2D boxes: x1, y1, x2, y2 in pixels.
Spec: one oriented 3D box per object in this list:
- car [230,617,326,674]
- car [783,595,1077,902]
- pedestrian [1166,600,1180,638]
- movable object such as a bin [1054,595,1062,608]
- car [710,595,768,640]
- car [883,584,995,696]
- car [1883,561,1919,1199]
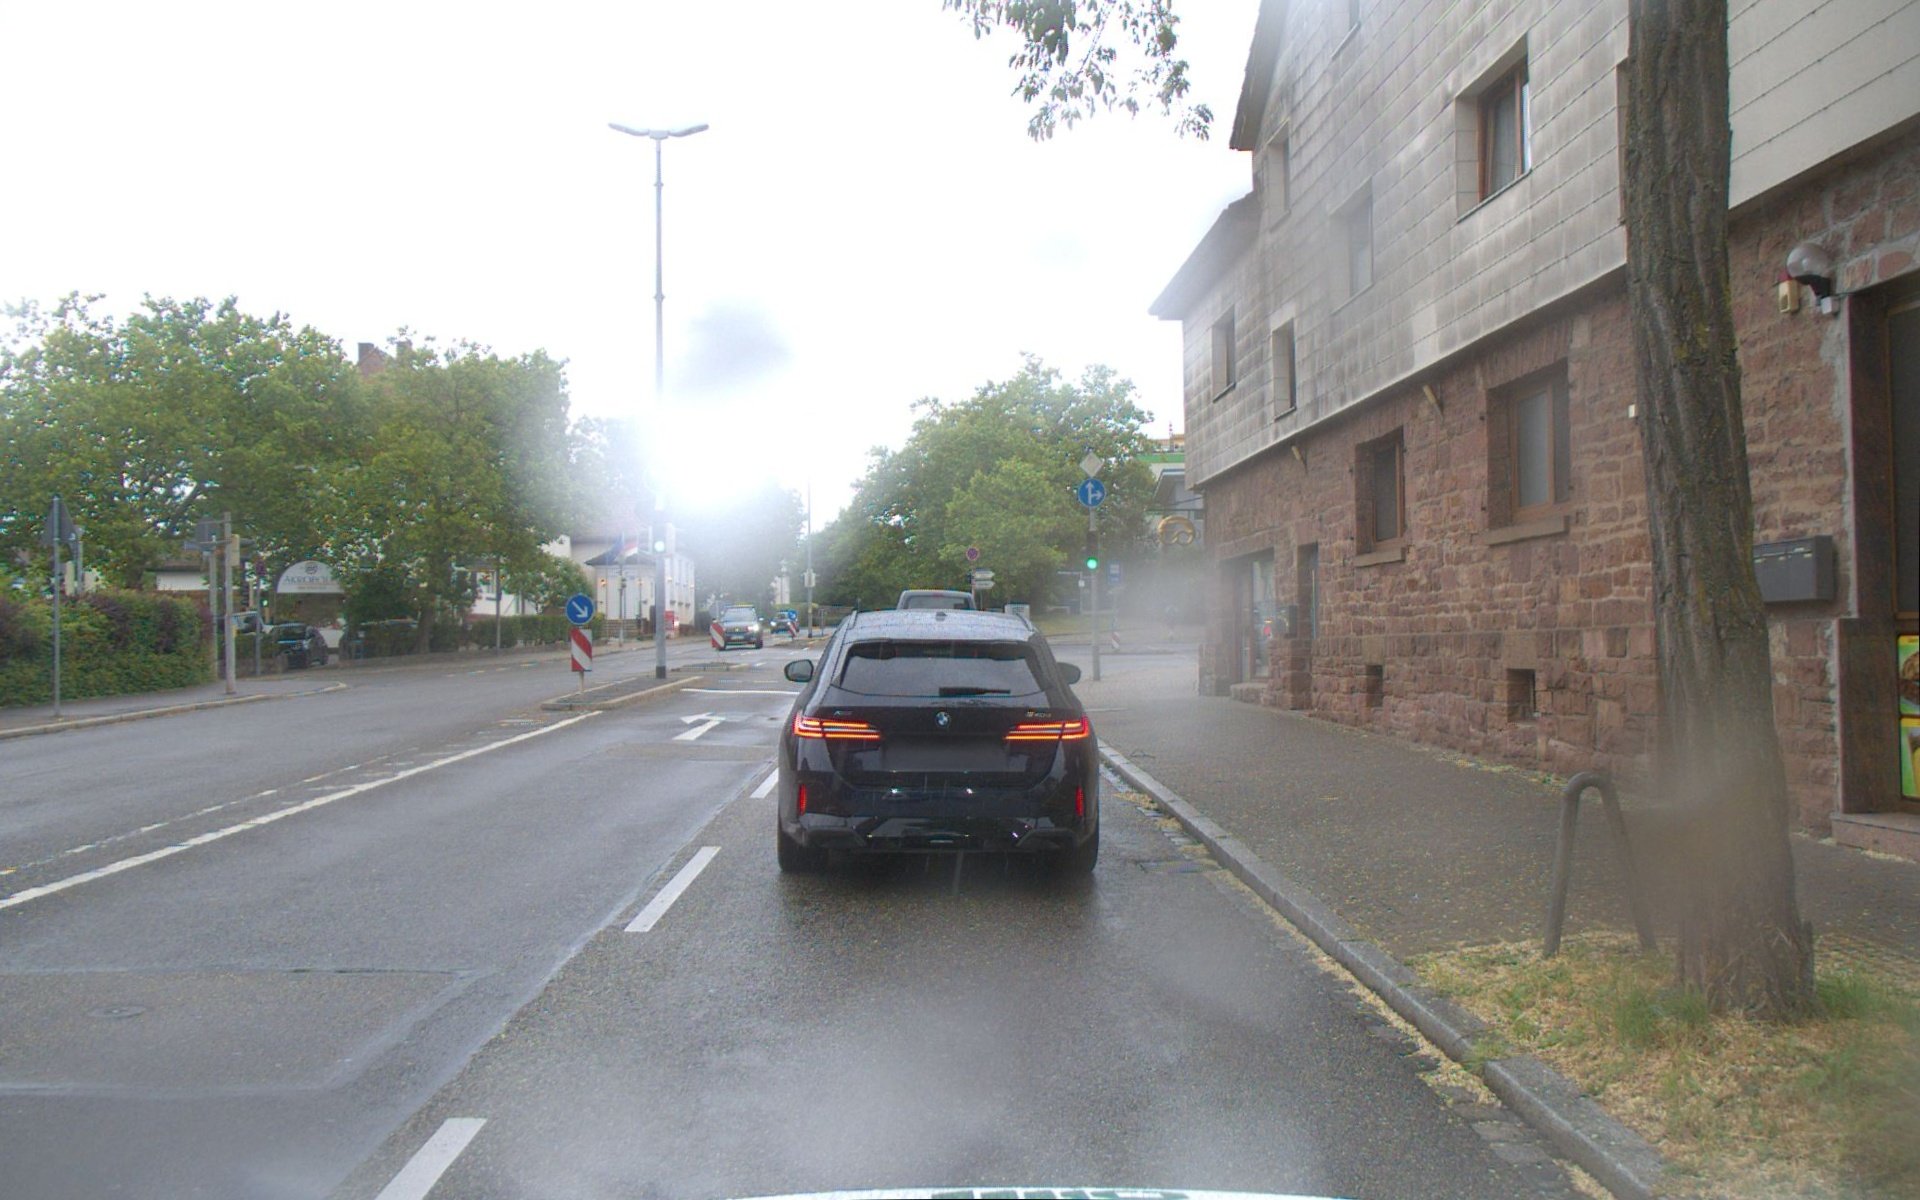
[{"bbox_3d":[-23.161,1.506,56.301,1.772,1.578,3.999,1,3,-3],"label":"car"},{"bbox_3d":[-0.264,0.793,10.289,1.494,1.561,3.529,1,-1,-4],"label":"car"},{"bbox_3d":[9.153,0.817,71.141,0.588,1.645,0.526,1,-1,6],"label":"pedestrian"},{"bbox_3d":[6.816,0.090,114.752,0.440,0.921,0.463,1,-1,14],"label":"movable object such as a bin"},{"bbox_3d":[-8.434,0.651,63.472,1.861,1.605,4.499,-1,0,-4],"label":"car"},{"bbox_3d":[-0.437,0.692,29.584,1.776,1.840,3.753,1,-1,-4],"label":"car"},{"bbox_3d":[3.067,0.621,2.042,1.578,1.530,3.753,1,-2,-4],"label":"car"}]
